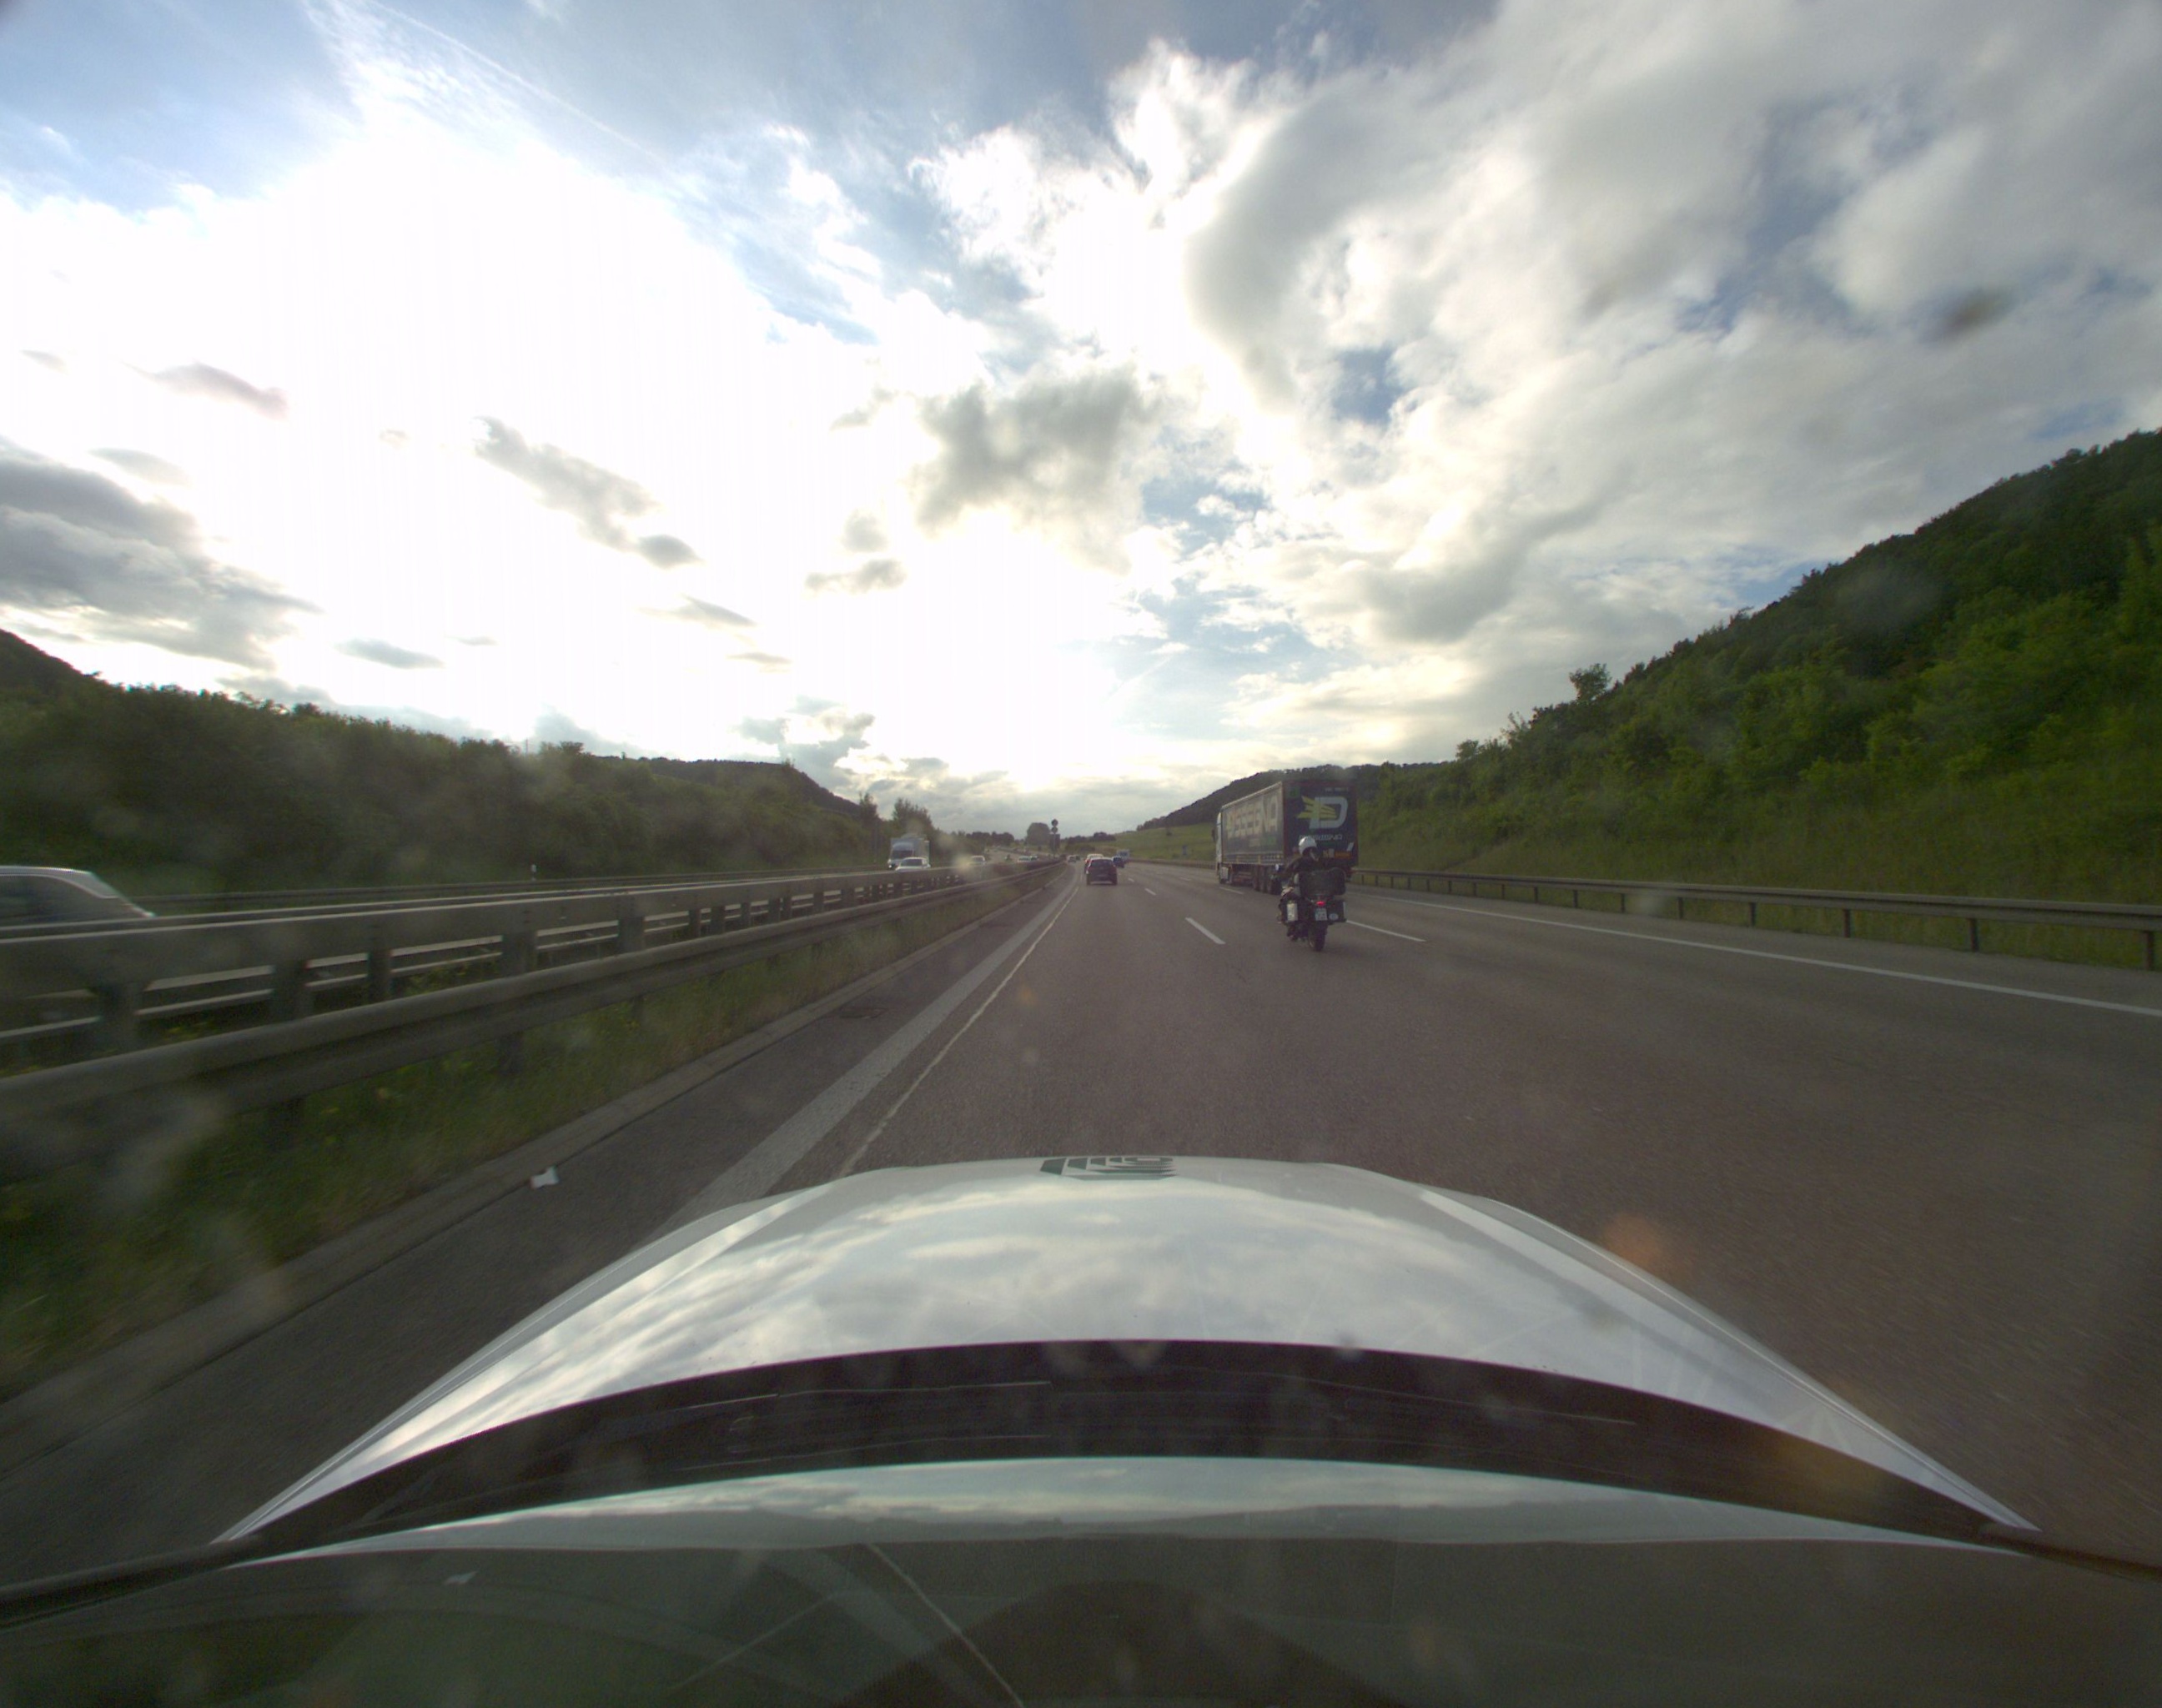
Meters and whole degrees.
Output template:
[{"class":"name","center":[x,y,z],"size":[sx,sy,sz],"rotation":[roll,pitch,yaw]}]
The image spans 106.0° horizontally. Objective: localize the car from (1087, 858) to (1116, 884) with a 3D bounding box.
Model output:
[{"class":"car","center":[1.156,0.915,44.792],"size":[1.532,1.348,3.679],"rotation":[-1,0,2]}]

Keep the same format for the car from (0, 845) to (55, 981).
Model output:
[{"class":"car","center":[-14.668,0.753,8.380],"size":[1.922,1.722,4.882],"rotation":[-1,0,2]}]

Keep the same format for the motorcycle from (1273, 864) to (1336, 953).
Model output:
[{"class":"motorcycle","center":[3.580,0.837,13.172],"size":[0.624,1.339,1.740],"rotation":[0,-1,3]}]

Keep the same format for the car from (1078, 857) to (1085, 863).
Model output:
[{"class":"car","center":[0.200,1.660,223.334],"size":[1.950,1.574,4.001],"rotation":[-1,0,1]}]

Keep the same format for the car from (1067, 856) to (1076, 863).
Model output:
[{"class":"car","center":[-2.164,1.198,183.822],"size":[1.763,1.433,3.994],"rotation":[-1,0,-4]}]

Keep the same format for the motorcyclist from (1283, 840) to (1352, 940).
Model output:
[{"class":"motorcyclist","center":[3.696,0.556,12.777],"size":[0.873,1.515,0.798],"rotation":[0,-1,2]}]

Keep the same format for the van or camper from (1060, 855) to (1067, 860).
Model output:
[{"class":"van or camper","center":[-4.717,0.944,223.019],"size":[1.961,1.433,3.998],"rotation":[0,0,-1]}]

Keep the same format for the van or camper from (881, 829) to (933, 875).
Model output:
[{"class":"van or camper","center":[-14.237,-0.161,67.339],"size":[2.473,3.551,7.977],"rotation":[-1,0,1]}]

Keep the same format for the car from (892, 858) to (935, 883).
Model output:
[{"class":"car","center":[-10.205,1.002,49.856],"size":[1.638,1.436,4.345],"rotation":[0,0,0]}]

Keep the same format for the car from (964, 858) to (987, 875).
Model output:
[{"class":"car","center":[-10.563,1.213,81.776],"size":[1.638,1.656,4.345],"rotation":[0,0,0]}]

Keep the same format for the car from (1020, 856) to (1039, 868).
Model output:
[{"class":"car","center":[-6.121,0.961,97.130],"size":[1.773,1.409,3.764],"rotation":[-1,0,2]}]

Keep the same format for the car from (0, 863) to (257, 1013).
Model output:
[{"class":"car","center":[-11.285,0.832,8.100],"size":[1.637,1.436,4.347],"rotation":[-1,0,2]}]

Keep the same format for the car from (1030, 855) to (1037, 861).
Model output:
[{"class":"car","center":[-13.252,1.094,229.115],"size":[1.828,1.591,5.015],"rotation":[0,0,-2]}]

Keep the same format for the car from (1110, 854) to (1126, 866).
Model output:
[{"class":"car","center":[4.701,0.771,103.357],"size":[1.761,1.433,3.999],"rotation":[0,0,0]}]

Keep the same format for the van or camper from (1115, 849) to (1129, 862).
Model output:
[{"class":"van or camper","center":[7.423,0.314,148.257],"size":[2.538,2.239,5.332],"rotation":[-1,0,2]}]

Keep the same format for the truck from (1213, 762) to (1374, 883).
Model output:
[{"class":"truck","center":[8.477,-1.032,35.884],"size":[2.953,3.992,17.738],"rotation":[-1,0,2]}]
